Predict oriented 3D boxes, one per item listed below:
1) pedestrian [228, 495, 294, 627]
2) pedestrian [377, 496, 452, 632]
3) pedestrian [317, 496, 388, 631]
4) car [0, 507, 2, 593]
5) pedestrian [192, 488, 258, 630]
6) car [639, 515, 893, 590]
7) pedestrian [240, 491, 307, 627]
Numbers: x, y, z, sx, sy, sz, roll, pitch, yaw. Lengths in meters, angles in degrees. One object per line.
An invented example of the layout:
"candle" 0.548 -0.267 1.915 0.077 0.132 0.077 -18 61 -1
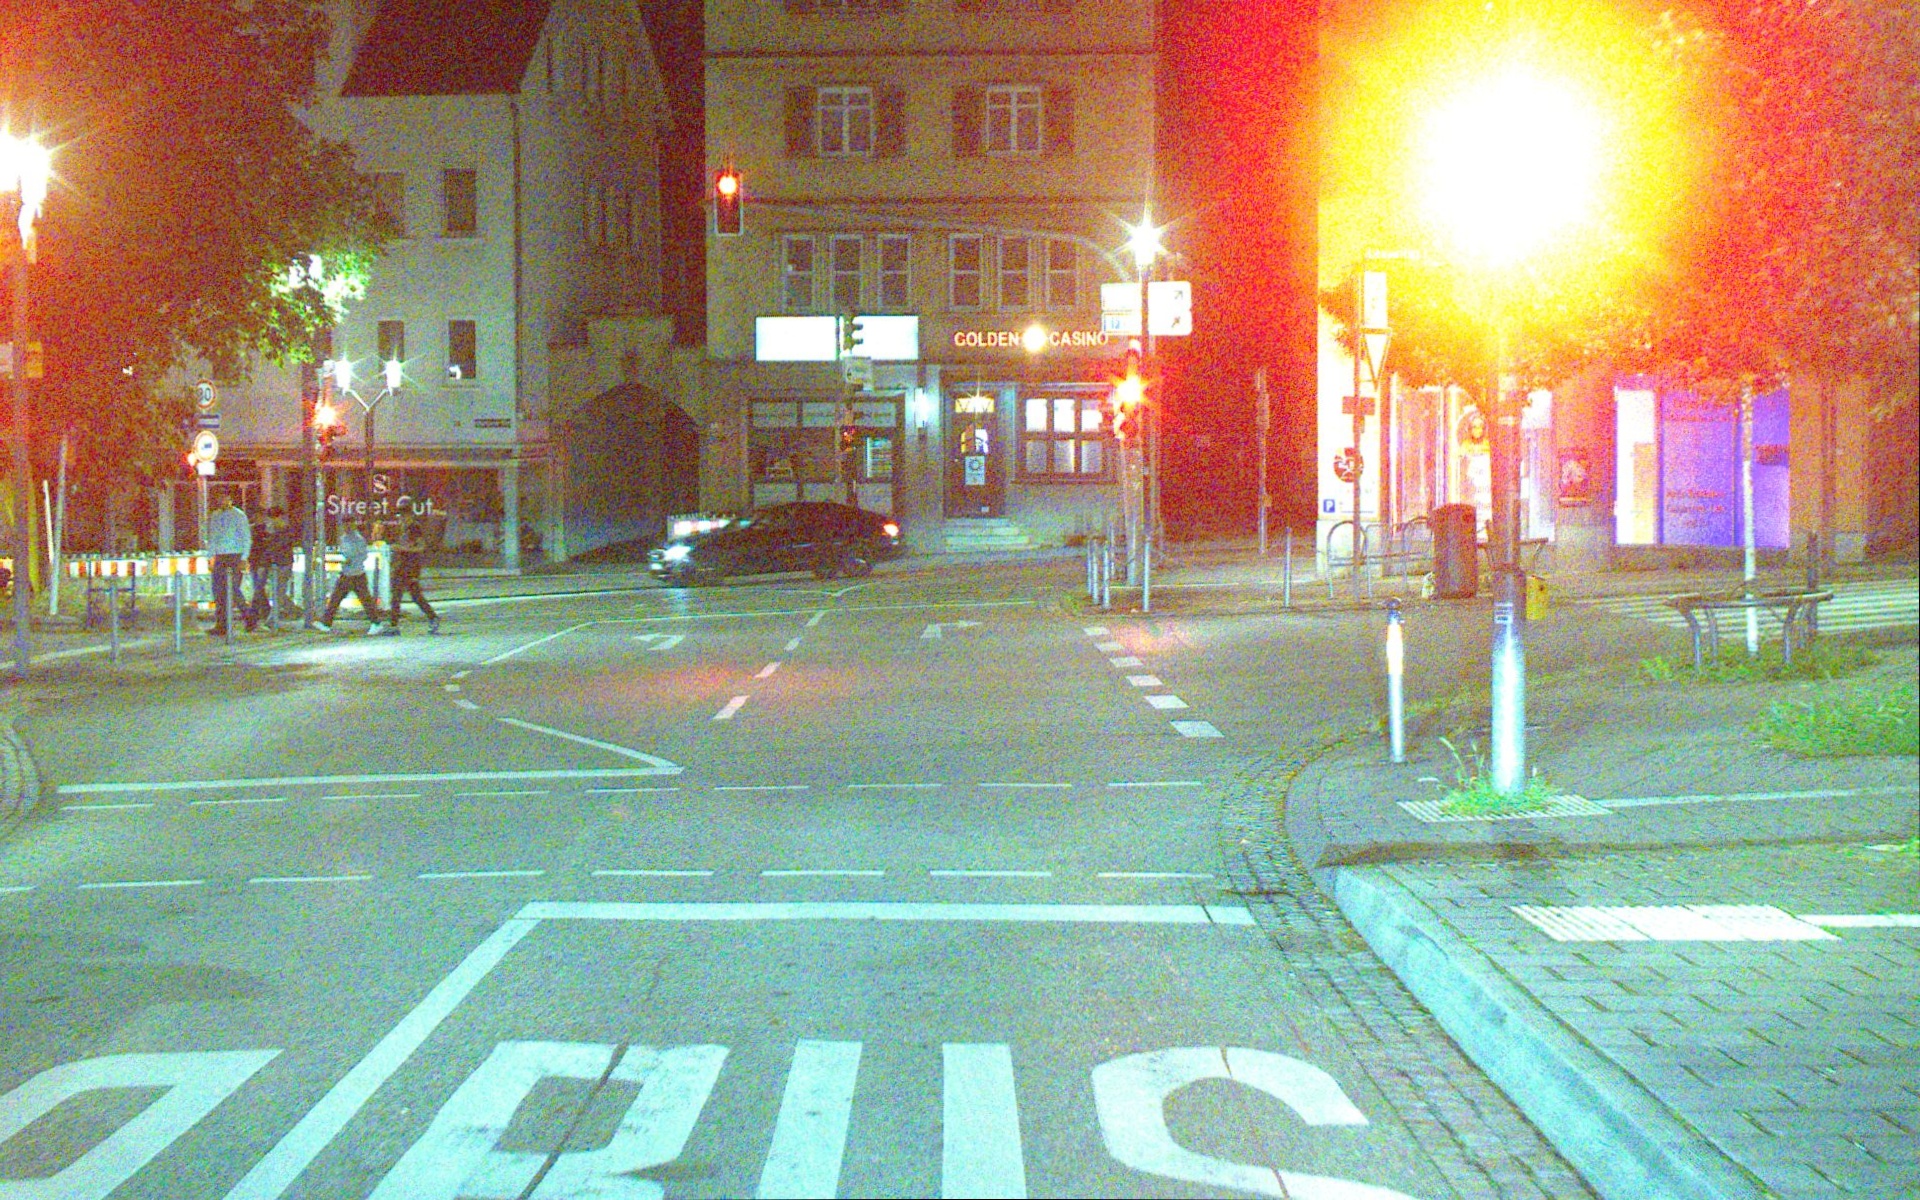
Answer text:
"pedestrian" -9.602 -0.529 47.239 0.716 1.789 0.569 1 0 7
"pedestrian" -7.241 -0.473 45.614 0.734 1.789 0.718 1 0 -31
"pedestrian" -8.141 -0.483 46.076 0.717 1.789 0.568 1 0 29
"car" -20.059 -0.968 64.541 3.758 1.612 1.832 1 0 28
"pedestrian" -9.400 -0.519 43.986 0.716 1.789 0.569 1 0 -3
"car" -3.619 -0.875 64.046 4.416 1.293 1.642 1 0 -20
"pedestrian" -9.162 -0.543 45.894 0.716 1.789 0.569 1 0 7
